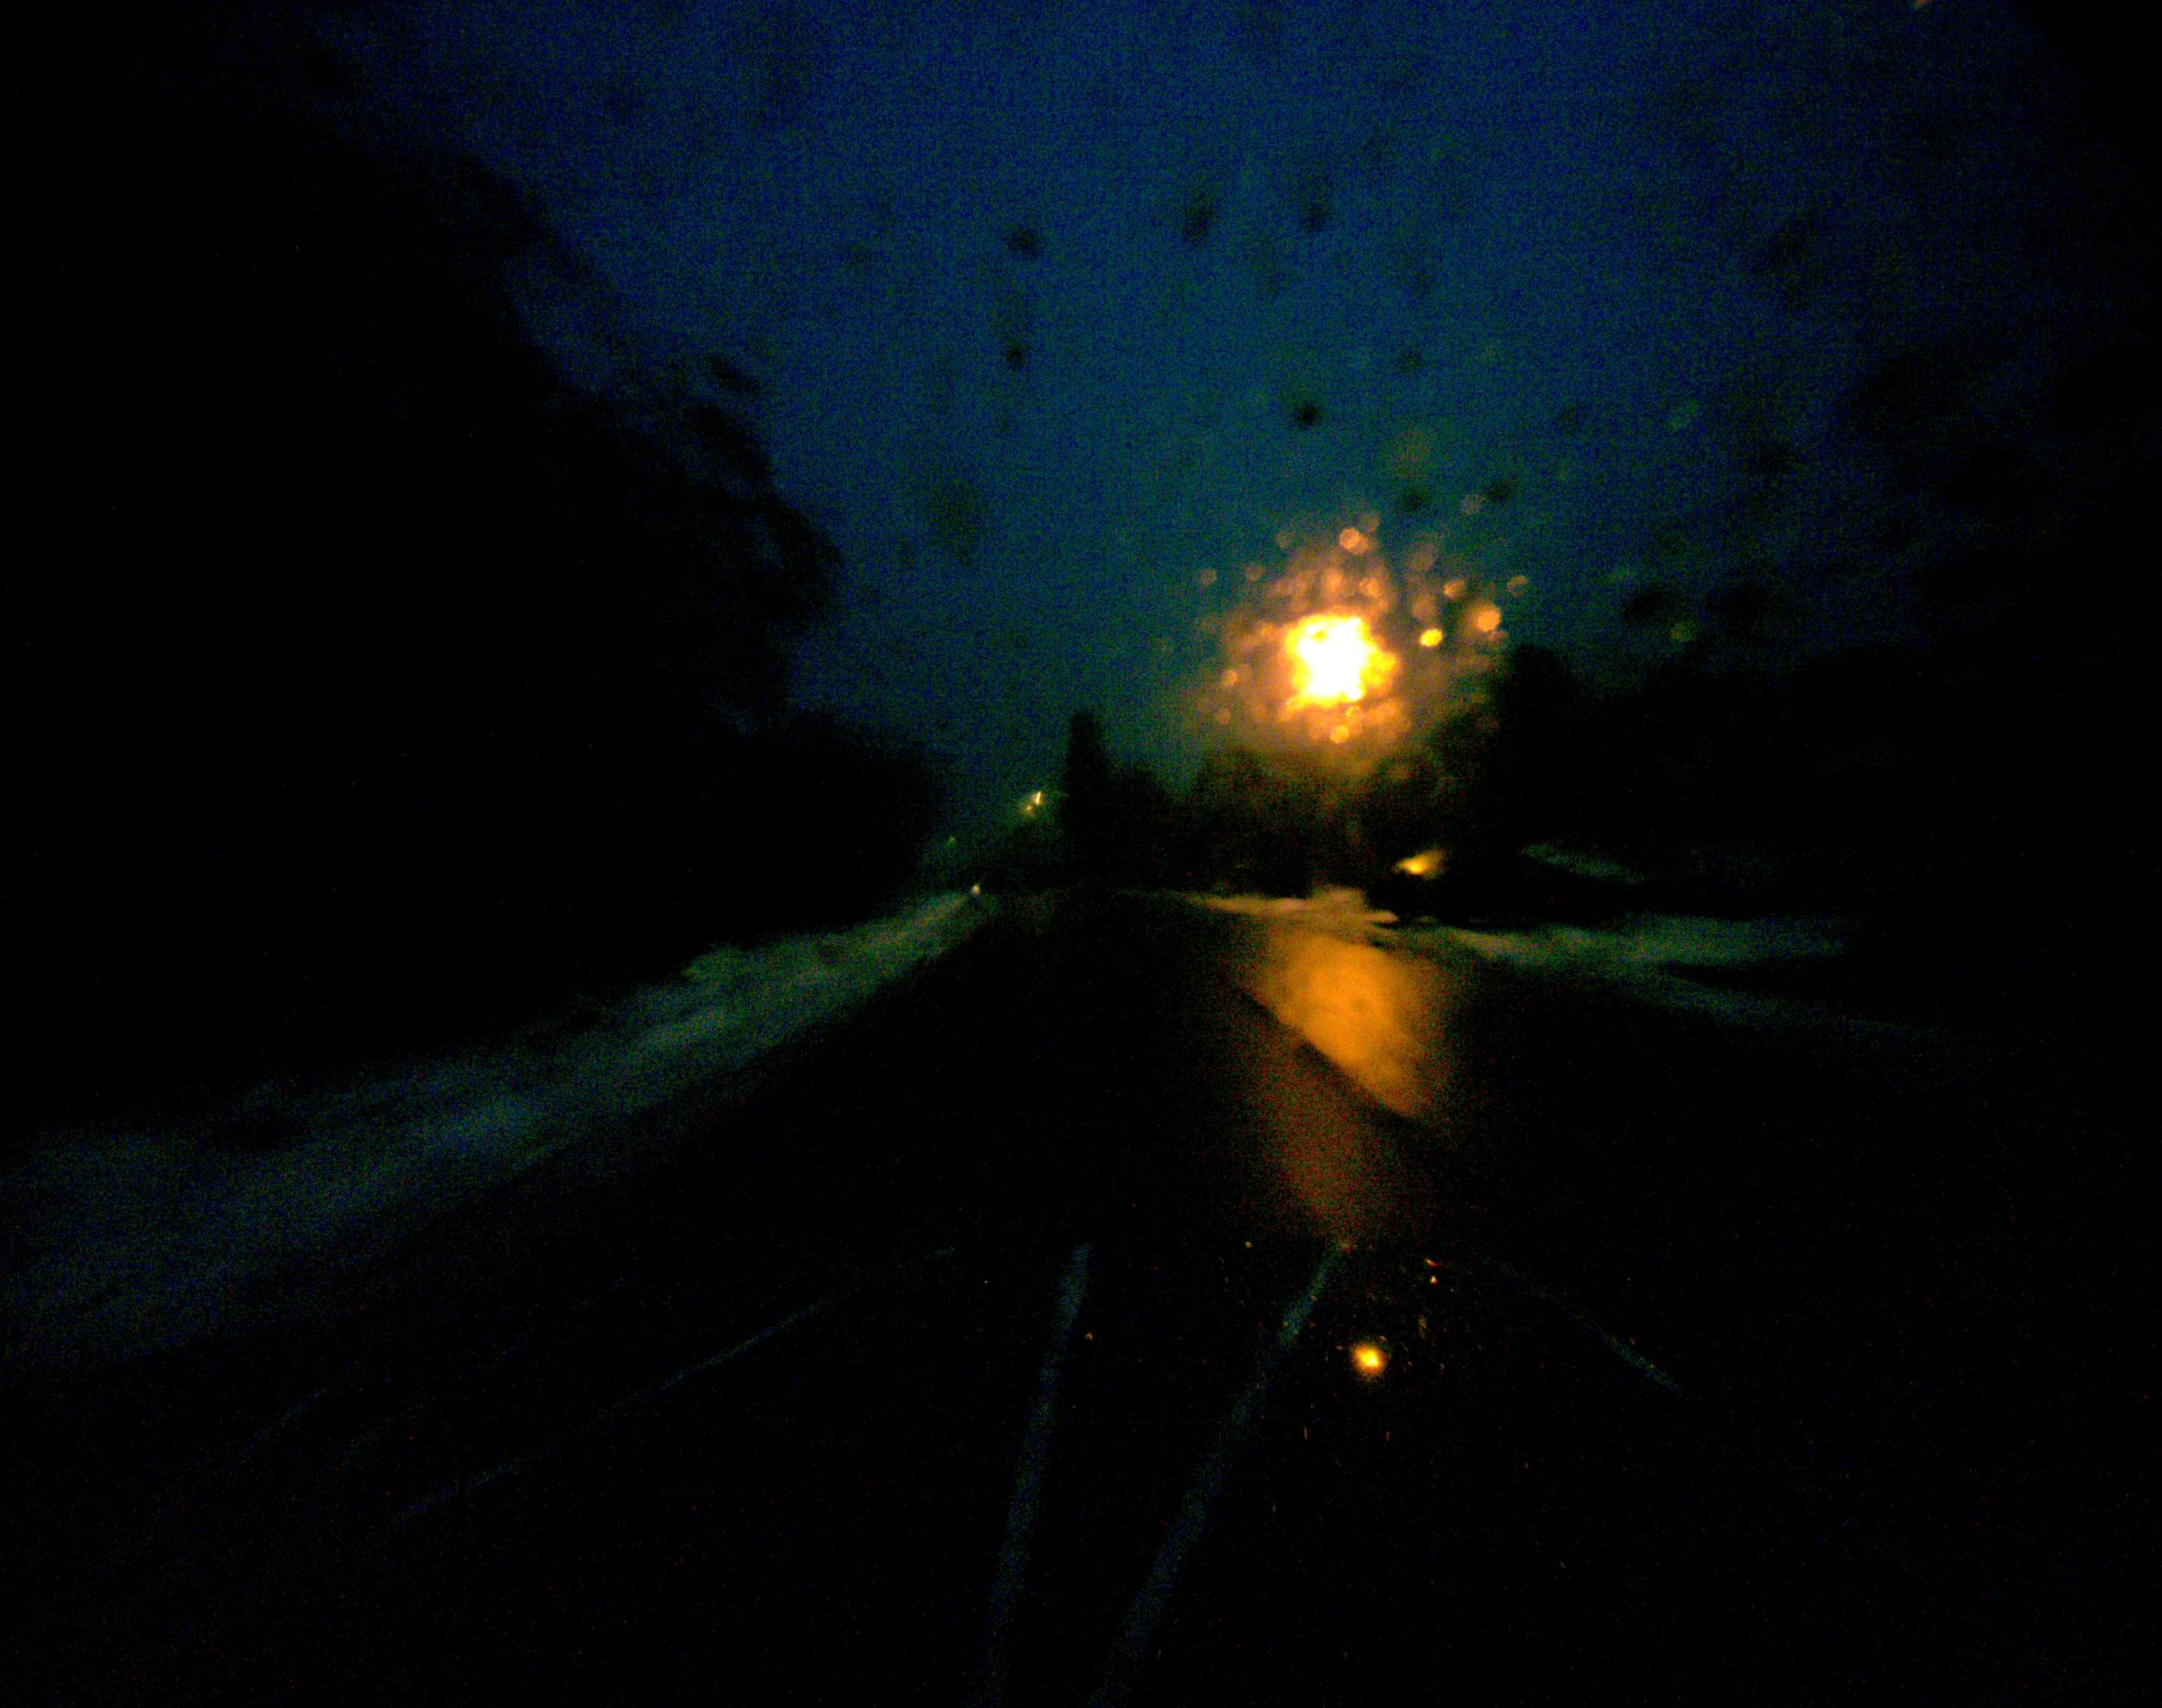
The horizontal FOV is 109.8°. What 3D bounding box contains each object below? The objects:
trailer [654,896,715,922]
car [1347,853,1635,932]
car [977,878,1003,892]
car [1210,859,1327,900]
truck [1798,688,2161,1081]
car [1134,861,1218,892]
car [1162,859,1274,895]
[{"bbox_3d":[-36.918,5.108,70.939,4.761,1.930,2.221,-4,-3,-24],"label":"trailer"},{"bbox_3d":[8.264,0.742,15.560,4.903,1.476,2.122,0,-1,-8],"label":"car"},{"bbox_3d":[-10.936,3.730,90.718,1.884,1.417,5.386,-4,-3,-19],"label":"car"},{"bbox_3d":[7.074,0.955,28.854,3.868,1.462,1.937,0,-1,-12],"label":"car"},{"bbox_3d":[8.756,0.207,5.757,5.278,2.289,1.999,0,-1,-9],"label":"truck"},{"bbox_3d":[4.943,1.173,40.243,2.003,1.556,4.987,1,-2,-26],"label":"car"},{"bbox_3d":[6.200,1.032,34.610,4.545,1.557,2.108,0,-1,-16],"label":"car"}]
